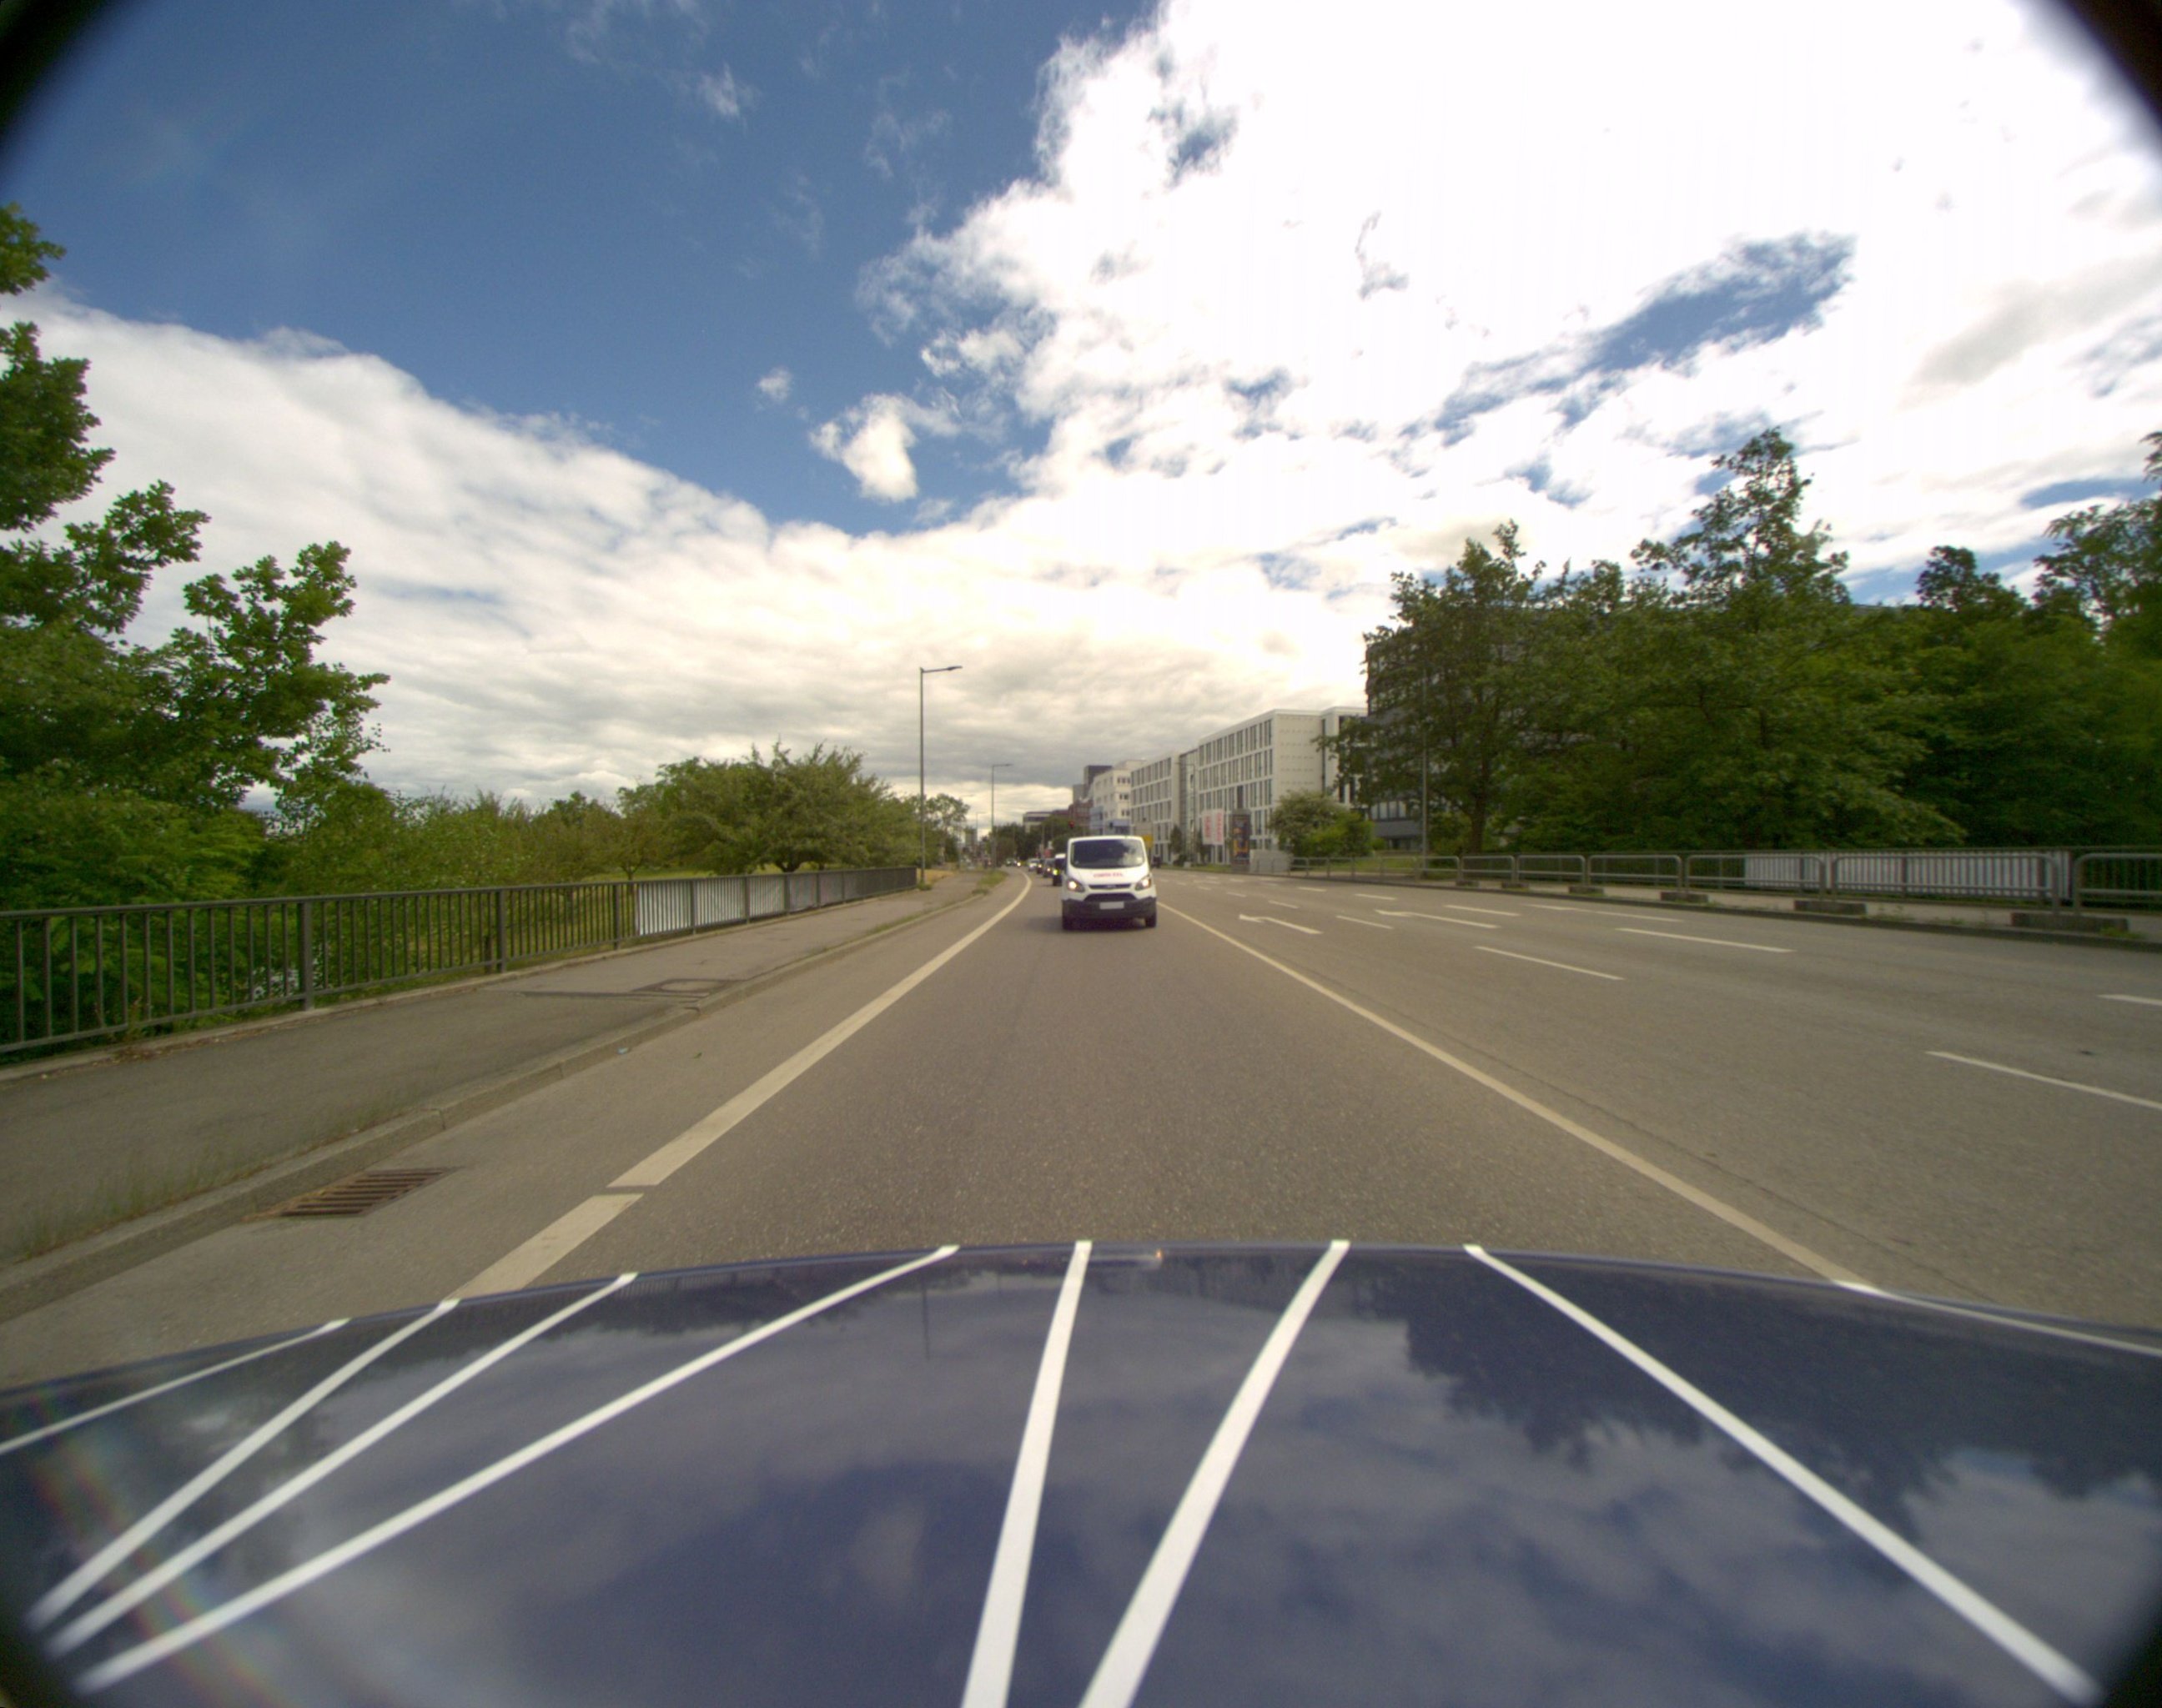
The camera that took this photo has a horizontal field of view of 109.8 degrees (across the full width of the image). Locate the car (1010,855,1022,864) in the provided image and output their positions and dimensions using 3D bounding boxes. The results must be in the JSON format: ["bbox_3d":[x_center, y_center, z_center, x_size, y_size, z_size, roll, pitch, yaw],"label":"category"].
[{"bbox_3d":[-12.234,0.971,142.106,1.873,1.685,4.368,-2,0,-8],"label":"car"}]

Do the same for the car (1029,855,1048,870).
[{"bbox_3d":[-5.338,1.034,94.518,1.873,1.685,4.368,-2,0,-8],"label":"car"}]

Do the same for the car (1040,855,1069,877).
[{"bbox_3d":[-2.262,0.939,63.101,1.873,1.685,4.368,-2,0,-8],"label":"car"}]

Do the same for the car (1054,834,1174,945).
[{"bbox_3d":[0.673,0.639,16.925,2.122,1.963,6.207,-2,0,1],"label":"car"}]

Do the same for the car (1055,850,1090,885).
[{"bbox_3d":[-0.498,0.752,43.692,1.872,1.836,4.371,-2,0,-1],"label":"car"}]

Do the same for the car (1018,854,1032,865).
[{"bbox_3d":[-9.341,0.956,126.955,1.874,1.685,4.367,-2,0,-10],"label":"car"}]

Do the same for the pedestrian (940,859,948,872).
[{"bbox_3d":[-20.897,1.778,116.113,0.802,1.872,0.764,-2,1,-43],"label":"pedestrian"}]
